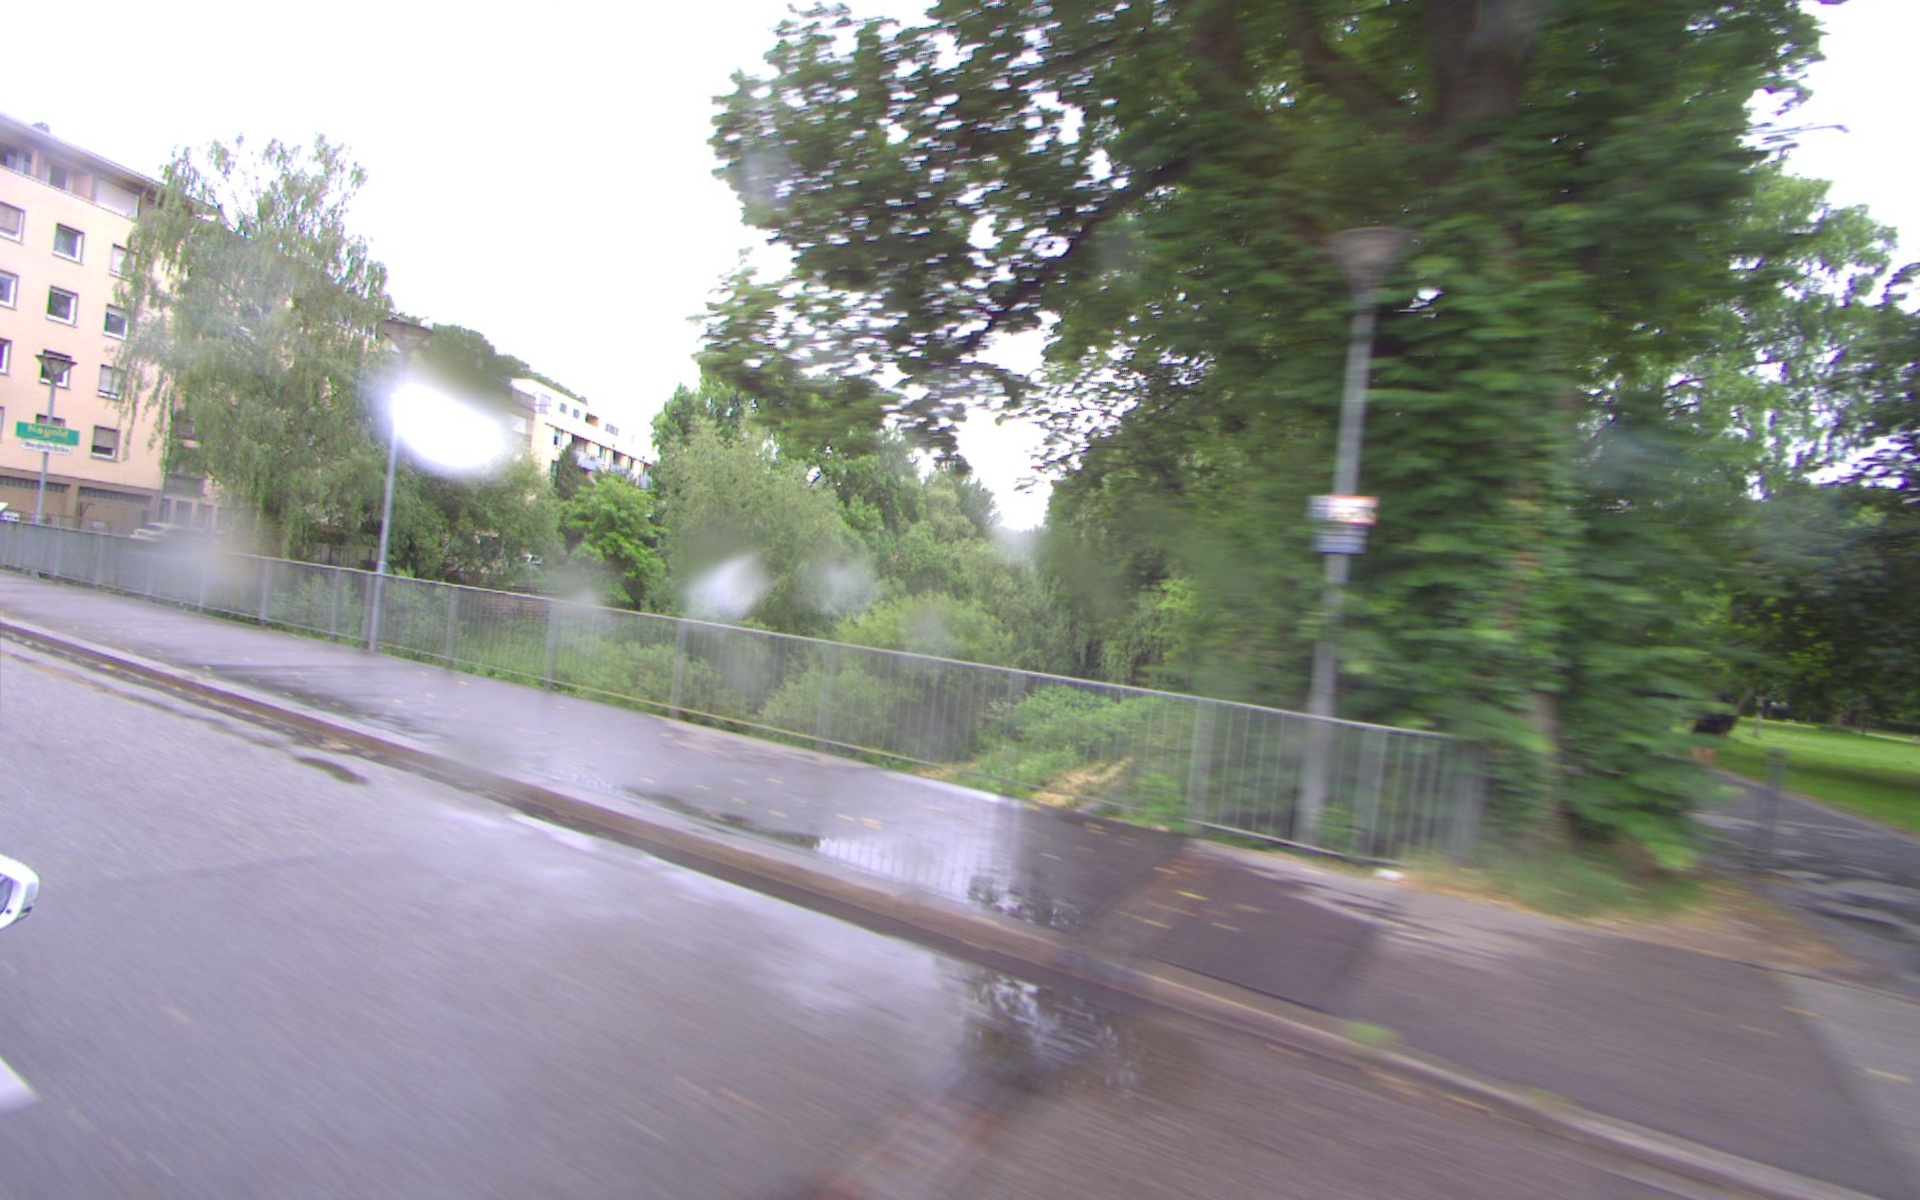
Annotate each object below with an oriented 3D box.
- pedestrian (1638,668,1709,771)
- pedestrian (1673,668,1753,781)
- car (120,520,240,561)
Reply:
[{"bbox_3d":[13.307,2.196,18.802,0.768,1.774,1.059,6,0,26],"label":"pedestrian"},{"bbox_3d":[12.893,2.103,17.253,0.768,1.774,1.059,6,0,26],"label":"pedestrian"},{"bbox_3d":[-38.617,-2.906,49.958,1.782,1.393,4.455,8,0,15],"label":"car"}]
